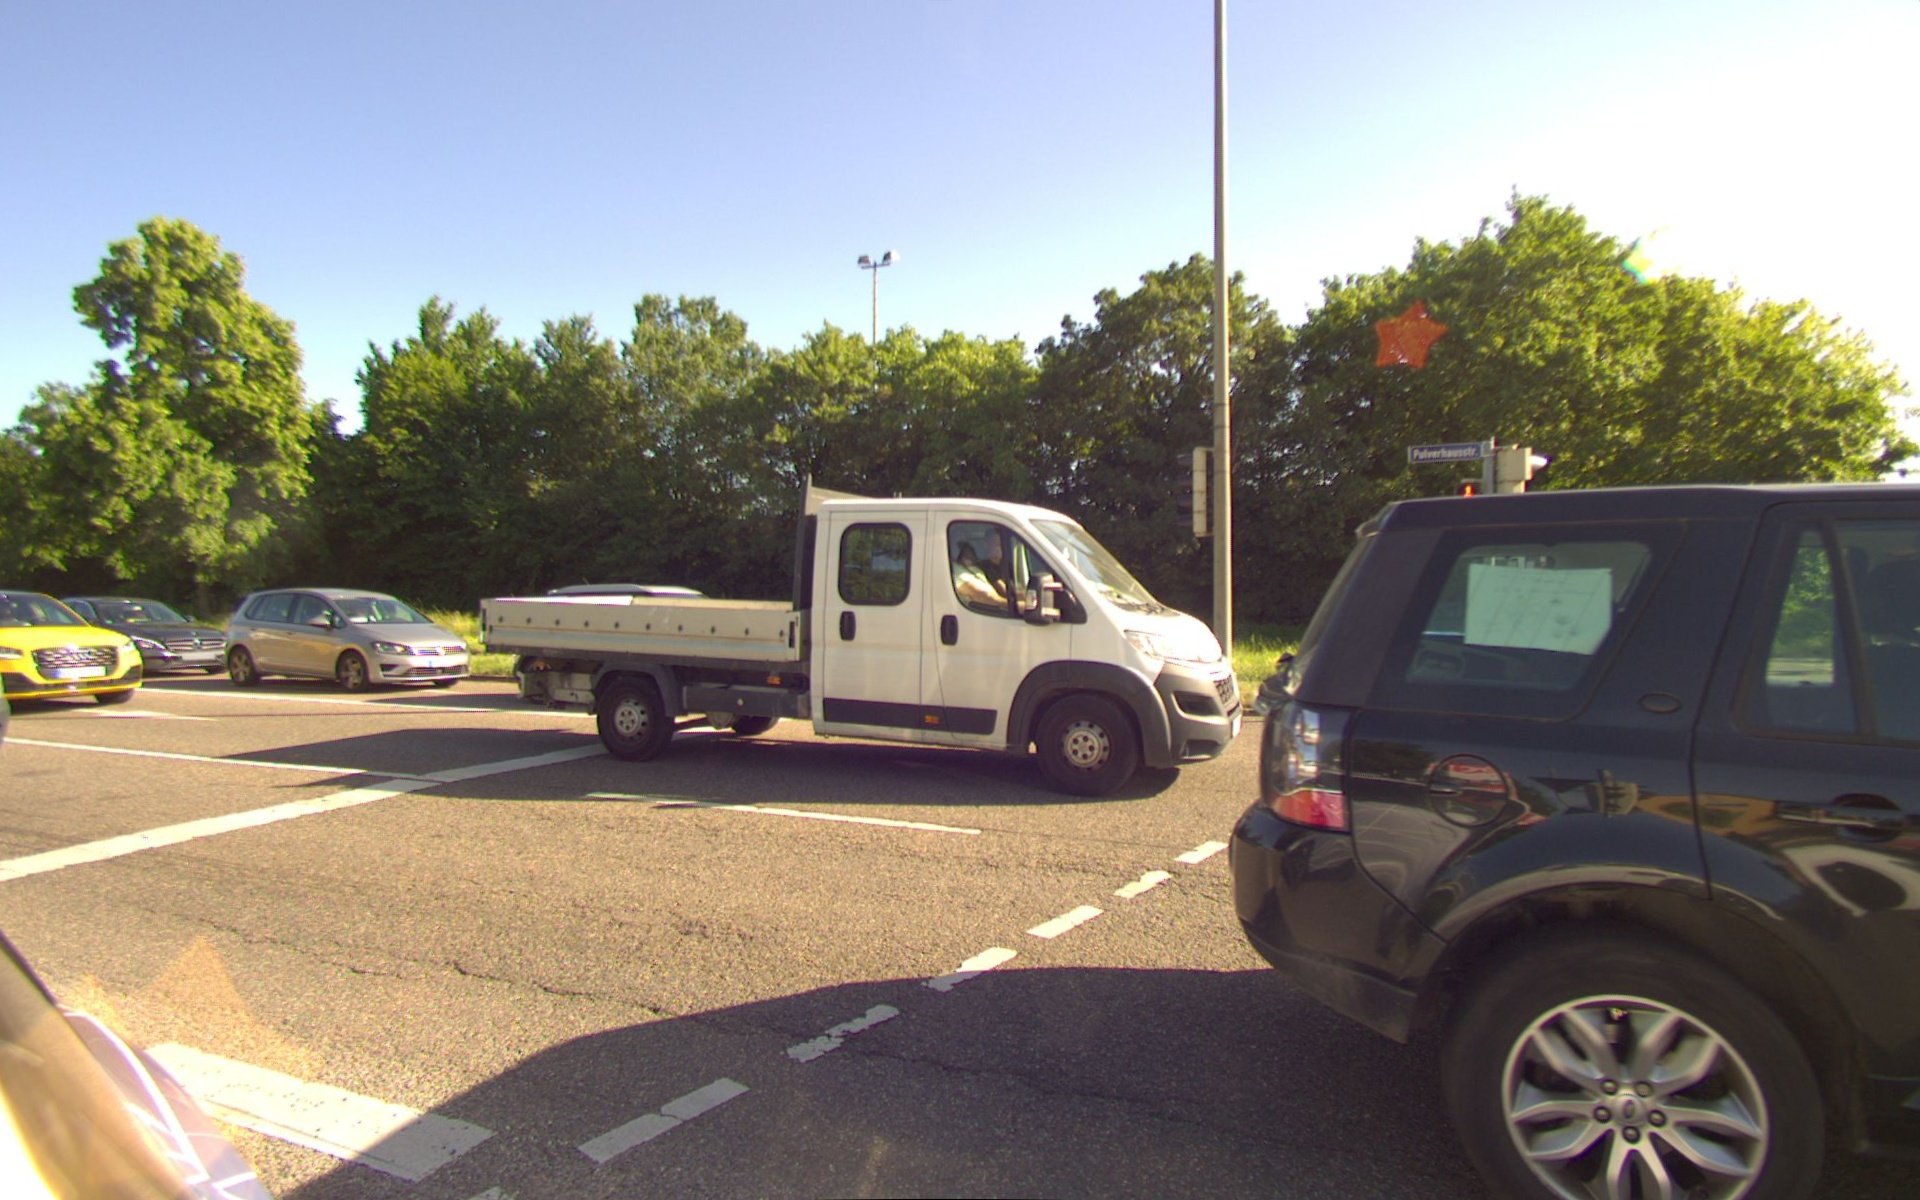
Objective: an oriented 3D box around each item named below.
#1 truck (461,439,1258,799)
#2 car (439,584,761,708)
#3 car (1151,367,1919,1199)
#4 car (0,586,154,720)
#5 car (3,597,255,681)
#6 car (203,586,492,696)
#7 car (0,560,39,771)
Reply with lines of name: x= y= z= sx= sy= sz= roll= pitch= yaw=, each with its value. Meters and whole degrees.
truck: x=-0.977 y=0.129 z=8.843 sx=6.728 sy=2.327 sz=2.175 roll=0 pitch=-1 yaw=22
car: x=-5.096 y=0.583 z=14.337 sx=4.167 sy=1.549 sz=1.823 roll=0 pitch=-1 yaw=23
car: x=2.813 y=0.406 z=2.430 sx=4.364 sy=1.696 sz=1.813 roll=0 pitch=1 yaw=24
car: x=-12.629 y=0.600 z=13.179 sx=3.976 sy=1.512 sz=1.714 roll=0 pitch=2 yaw=25
car: x=-15.379 y=0.661 z=18.734 sx=4.326 sy=1.415 sz=1.823 roll=0 pitch=0 yaw=23
car: x=-9.836 y=0.586 z=16.263 sx=4.215 sy=1.586 sz=1.865 roll=0 pitch=0 yaw=23
car: x=-10.196 y=0.556 z=8.625 sx=4.339 sy=1.741 sz=1.905 roll=0 pitch=2 yaw=25
